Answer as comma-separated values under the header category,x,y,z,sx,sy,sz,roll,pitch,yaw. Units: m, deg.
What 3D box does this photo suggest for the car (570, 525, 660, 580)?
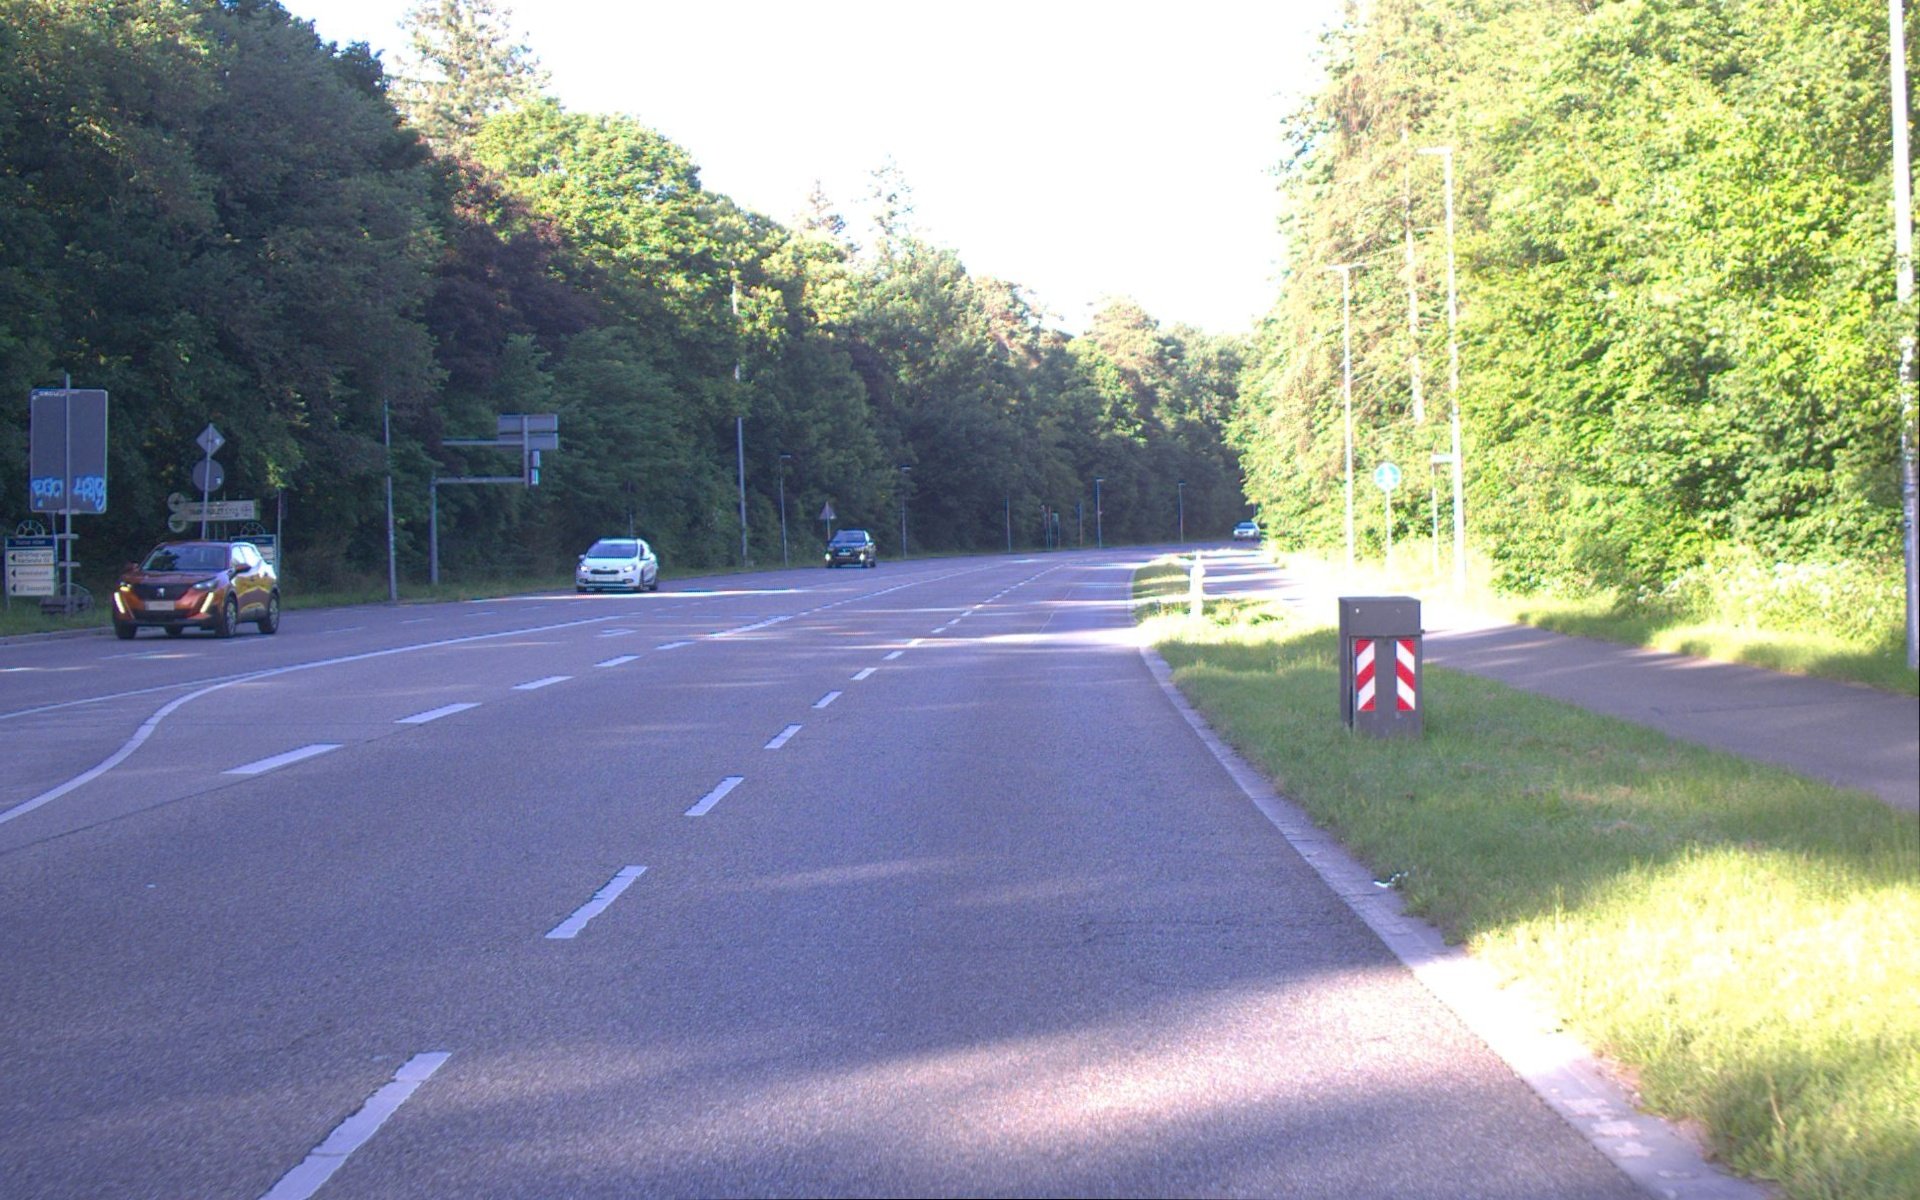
category,x,y,z,sx,sy,sz,roll,pitch,yaw
car,-9.528,-1.335,95.291,1.825,1.499,4.306,0,1,3

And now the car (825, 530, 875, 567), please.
category,x,y,z,sx,sy,sz,roll,pitch,yaw
car,-4.771,-2.255,149.752,1.825,1.584,4.351,0,1,3

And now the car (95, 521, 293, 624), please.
category,x,y,z,sx,sy,sz,roll,pitch,yaw
car,-11.935,-0.458,53.863,1.825,1.539,4.256,0,1,5
